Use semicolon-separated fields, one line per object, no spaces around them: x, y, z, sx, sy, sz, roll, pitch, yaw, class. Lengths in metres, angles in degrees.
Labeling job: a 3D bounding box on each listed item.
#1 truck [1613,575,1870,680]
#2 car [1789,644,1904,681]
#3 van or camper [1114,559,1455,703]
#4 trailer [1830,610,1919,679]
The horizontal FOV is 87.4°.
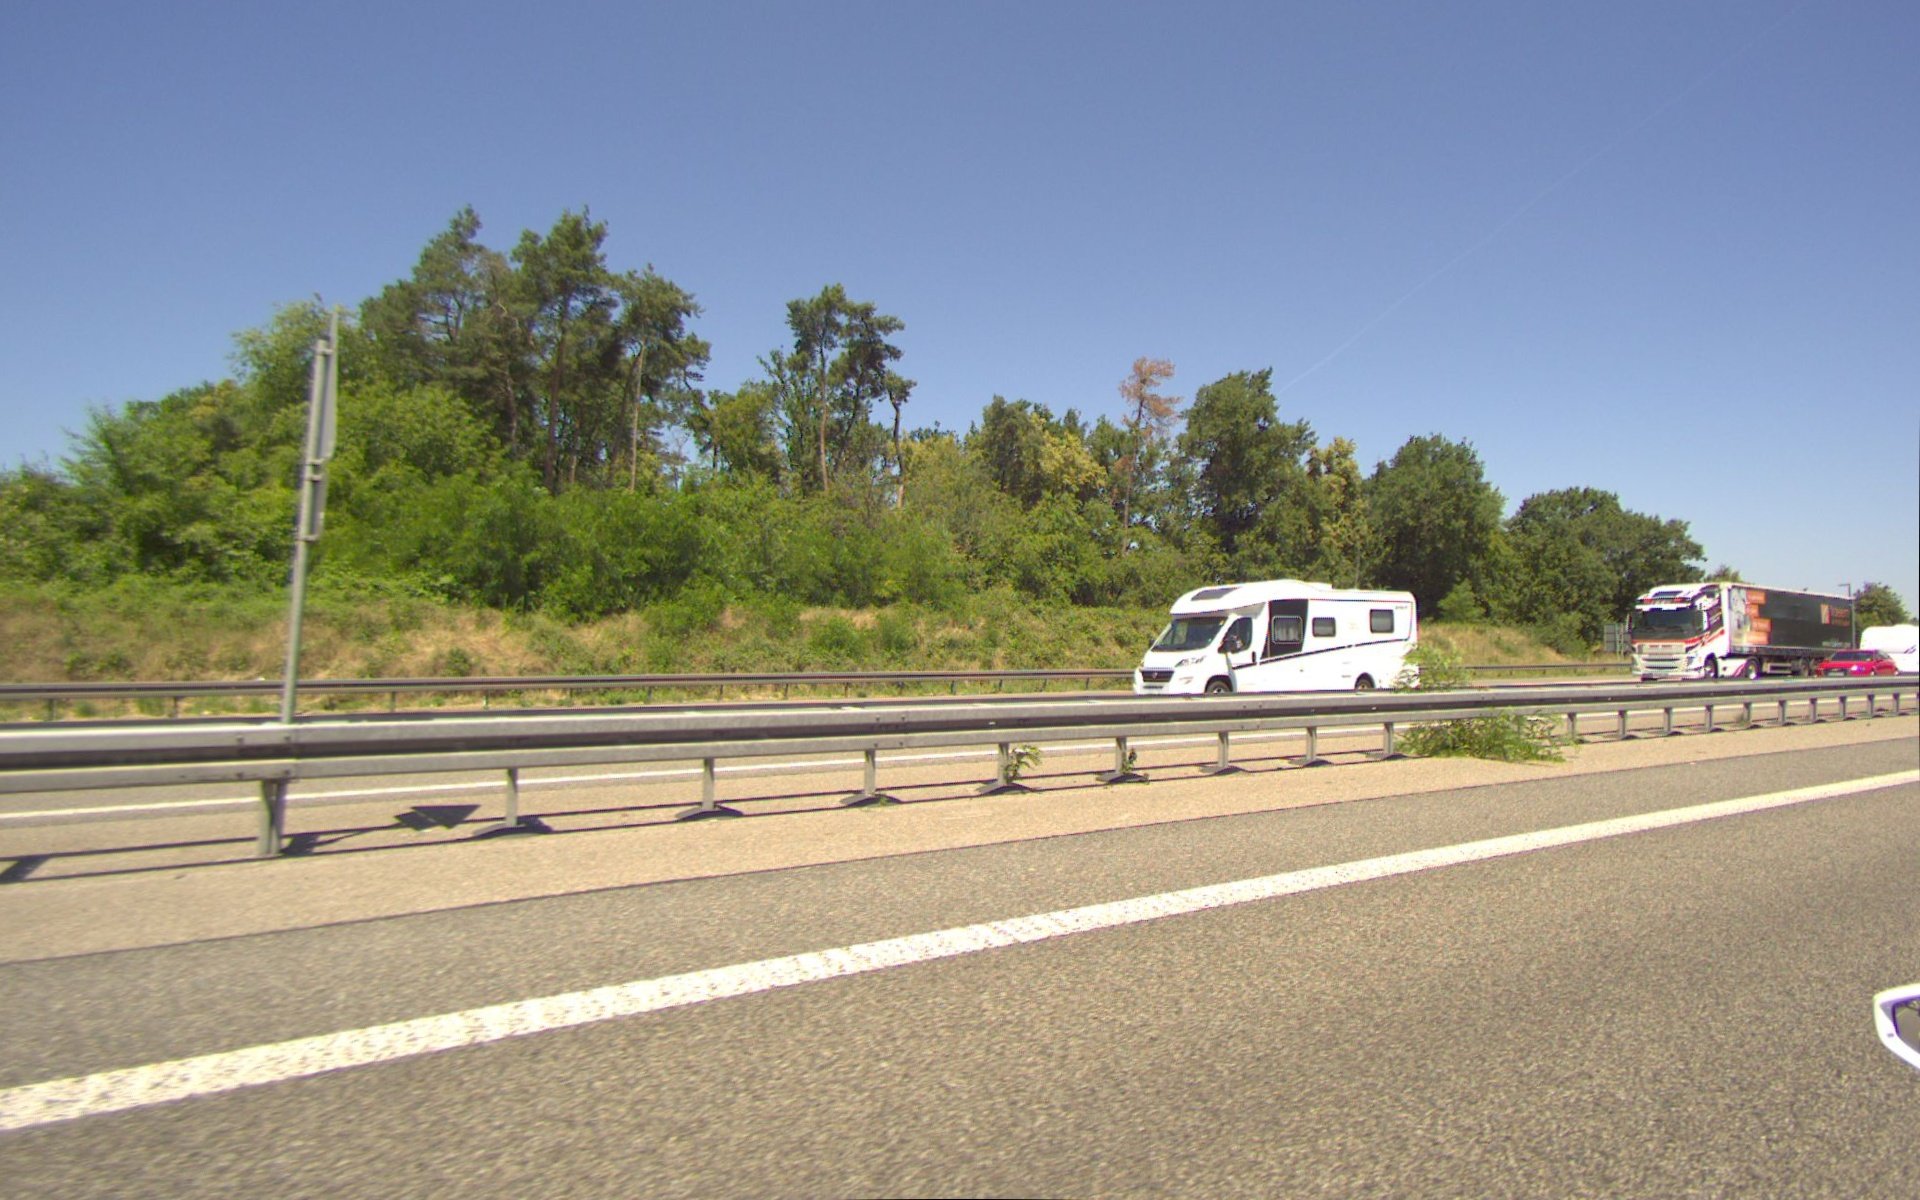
35.238;1.332;44.803;16.674;4.048;3.310;2;-2;-31;truck
35.844;2.505;40.594;4.639;1.398;2.217;1;-4;-32;car
7.642;0.752;23.139;8.460;2.847;2.490;2;-2;-30;van or camper
39.970;1.918;43.120;5.017;2.783;2.465;1;-4;-32;trailer
